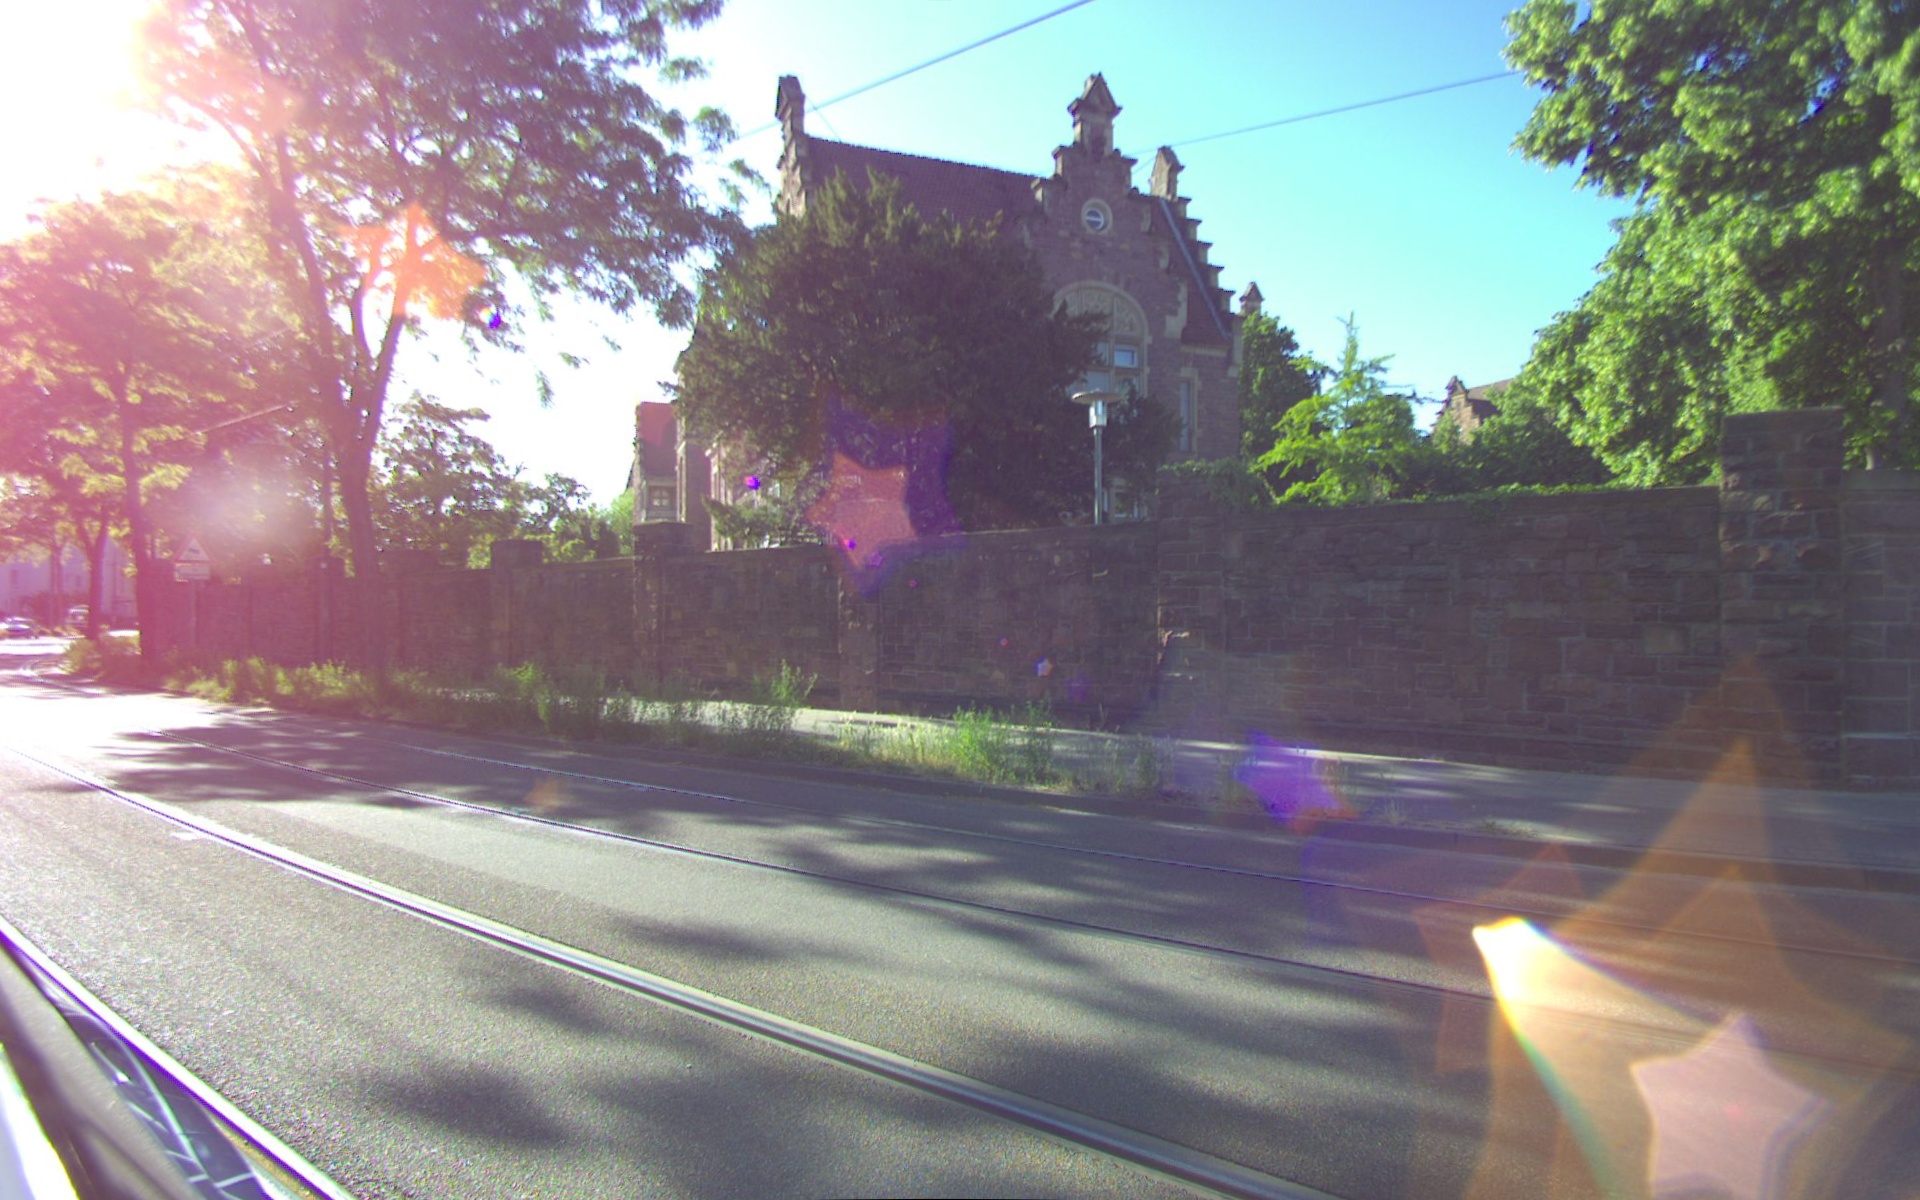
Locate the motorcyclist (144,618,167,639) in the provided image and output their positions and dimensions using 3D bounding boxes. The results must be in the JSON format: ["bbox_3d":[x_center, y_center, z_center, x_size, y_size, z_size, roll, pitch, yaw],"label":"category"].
[{"bbox_3d":[-56.071,1.973,70.516,0.878,1.393,0.909,-1,-1,-4],"label":"motorcyclist"}]

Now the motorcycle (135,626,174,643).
[{"bbox_3d":[-56.052,2.403,70.448,0.900,1.162,2.431,-1,-1,-5],"label":"motorcycle"}]
